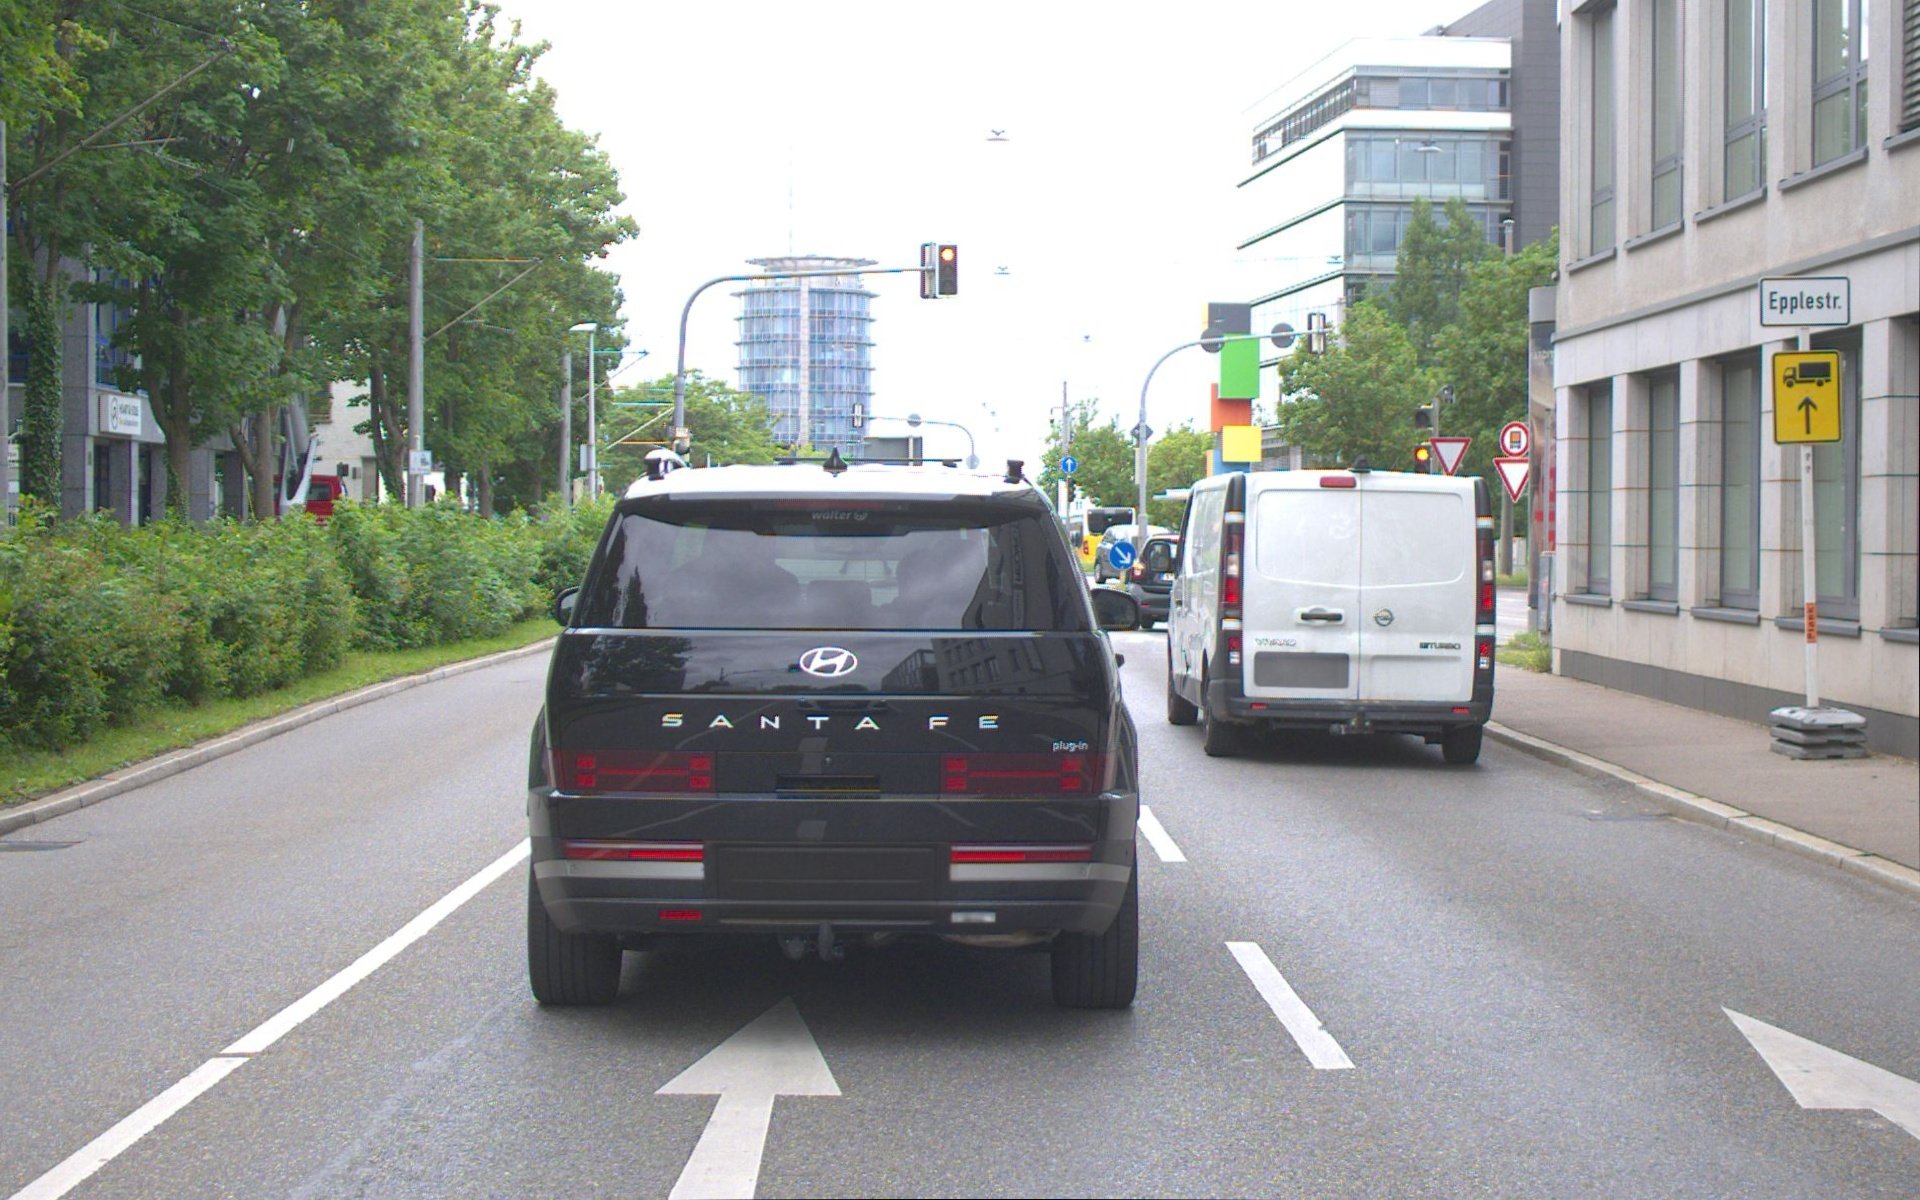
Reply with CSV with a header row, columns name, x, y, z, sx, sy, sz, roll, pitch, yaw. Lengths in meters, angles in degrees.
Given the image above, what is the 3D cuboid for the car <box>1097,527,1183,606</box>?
name,x,y,z,sx,sy,sz,roll,pitch,yaw
car,3.791,-0.734,72.761,1.759,1.603,4.188,0,1,3

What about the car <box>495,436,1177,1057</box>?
name,x,y,z,sx,sy,sz,roll,pitch,yaw
car,-0.482,0.383,11.900,1.908,1.743,4.397,0,1,-4

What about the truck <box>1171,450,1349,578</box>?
name,x,y,z,sx,sy,sz,roll,pitch,yaw
truck,6.677,-1.917,77.289,2.331,2.738,6.489,-1,1,-10

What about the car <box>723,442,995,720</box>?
name,x,y,z,sx,sy,sz,roll,pitch,yaw
car,-0.878,-0.183,26.971,1.931,1.987,4.536,0,1,-4

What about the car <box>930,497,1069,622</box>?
name,x,y,z,sx,sy,sz,roll,pitch,yaw
car,0.556,-0.625,51.523,1.993,1.784,4.000,0,1,0

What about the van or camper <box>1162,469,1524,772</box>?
name,x,y,z,sx,sy,sz,roll,pitch,yaw
van or camper,2.588,0.081,24.263,1.993,1.909,4.332,1,1,0
